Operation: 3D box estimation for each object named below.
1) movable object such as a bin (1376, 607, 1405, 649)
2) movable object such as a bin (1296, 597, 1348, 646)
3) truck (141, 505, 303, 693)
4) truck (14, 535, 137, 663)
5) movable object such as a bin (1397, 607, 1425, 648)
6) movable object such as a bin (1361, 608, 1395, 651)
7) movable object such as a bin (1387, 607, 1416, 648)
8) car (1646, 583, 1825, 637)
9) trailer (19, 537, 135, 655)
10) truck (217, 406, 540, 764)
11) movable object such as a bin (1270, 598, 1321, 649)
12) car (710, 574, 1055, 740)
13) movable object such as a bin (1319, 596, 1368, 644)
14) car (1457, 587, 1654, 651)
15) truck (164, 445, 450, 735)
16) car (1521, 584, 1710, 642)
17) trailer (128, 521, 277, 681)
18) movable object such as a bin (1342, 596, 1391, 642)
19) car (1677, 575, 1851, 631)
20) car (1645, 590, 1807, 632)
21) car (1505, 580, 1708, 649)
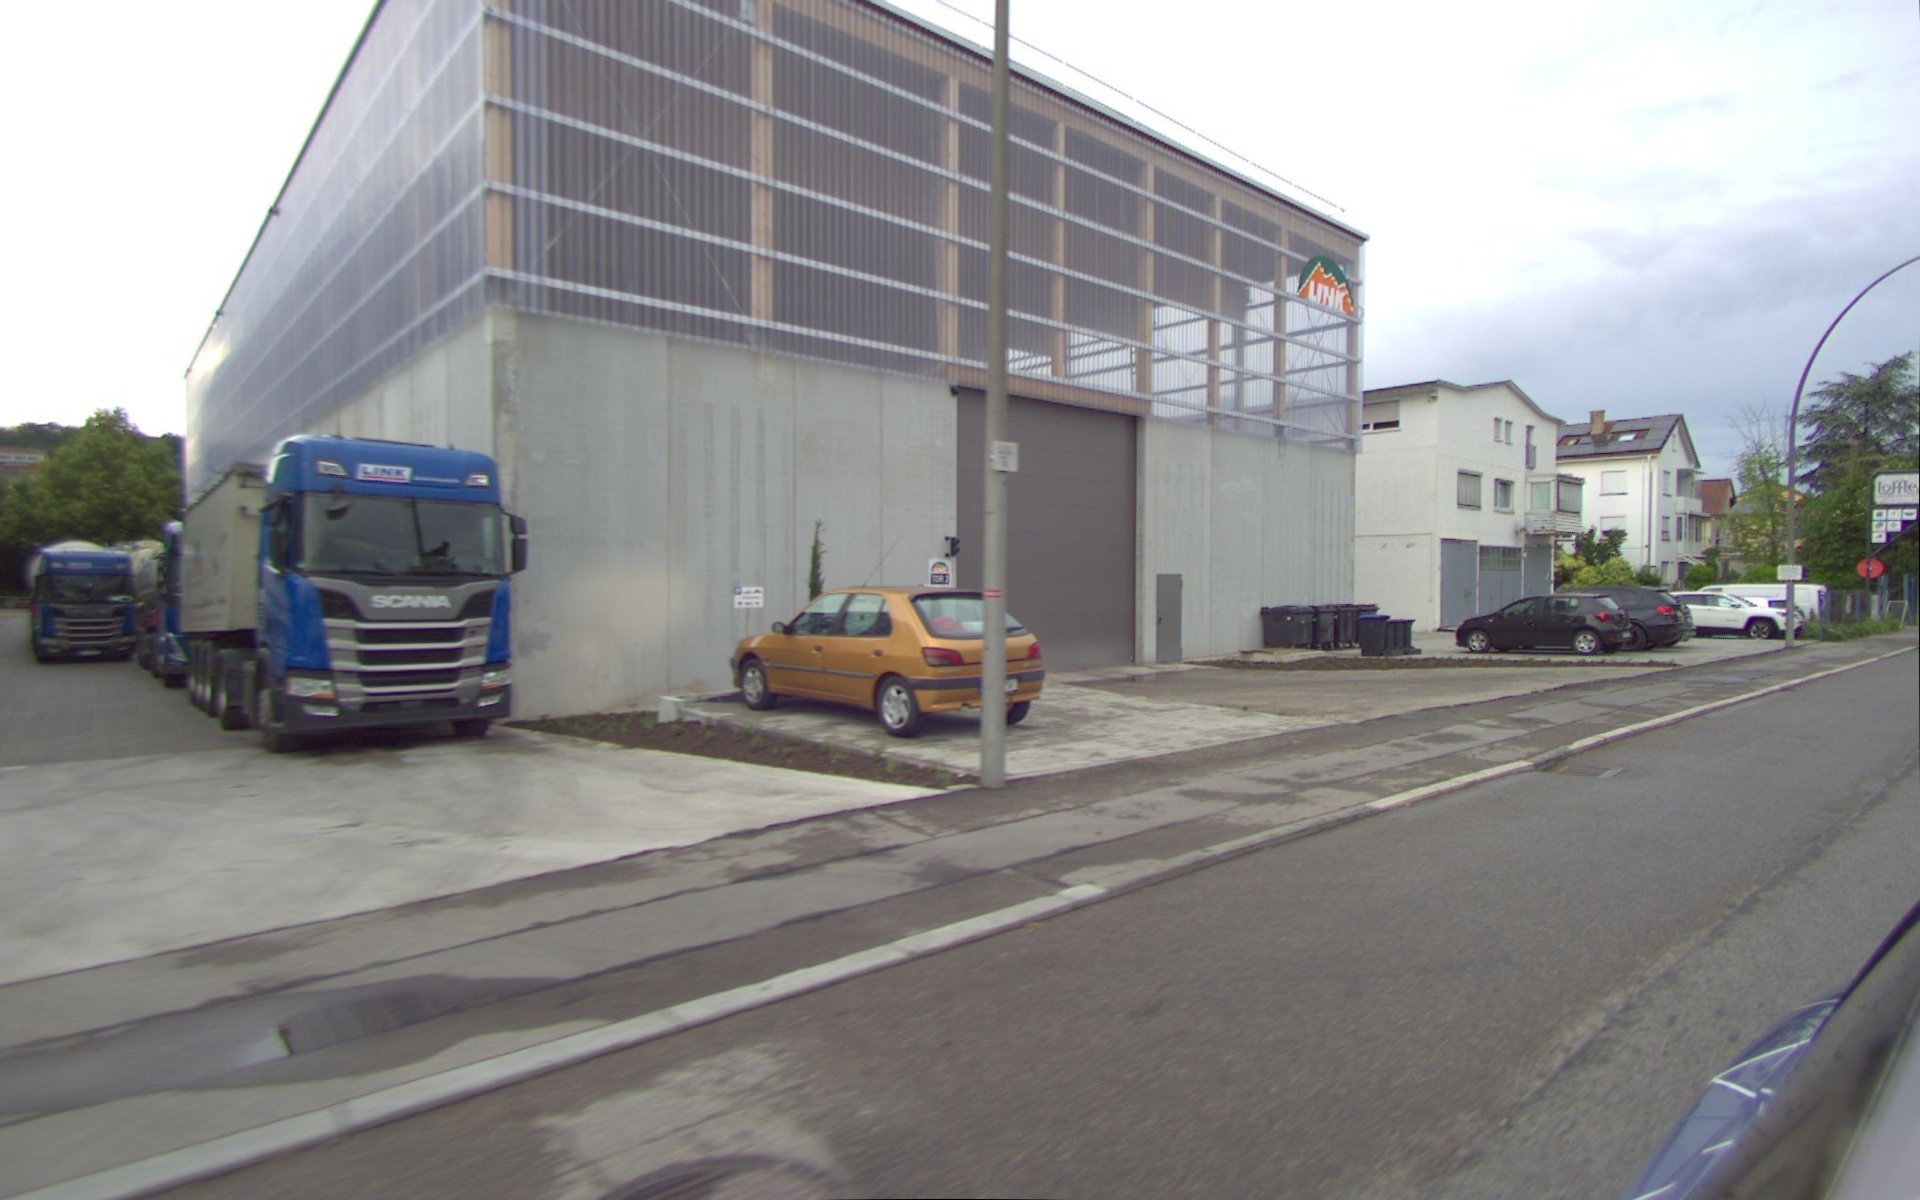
[{"bbox_3d":[11.254,0.727,26.448,0.534,1.068,0.513,-1,0,-40],"label":"movable object such as a bin"},{"bbox_3d":[10.285,0.599,28.750,1.298,1.356,0.839,-1,0,-40],"label":"movable object such as a bin"},{"bbox_3d":[-18.047,-0.001,24.592,2.673,3.971,6.087,-1,0,-41],"label":"truck"},{"bbox_3d":[-29.849,-0.121,34.254,2.929,3.951,5.778,-1,2,-41],"label":"truck"},{"bbox_3d":[12.102,0.729,27.158,0.496,1.068,0.518,-1,0,-40],"label":"movable object such as a bin"},{"bbox_3d":[10.782,0.747,26.087,0.633,1.068,0.575,-1,0,-40],"label":"movable object such as a bin"},{"bbox_3d":[11.692,0.719,26.815,0.543,1.068,0.496,-1,0,-40],"label":"movable object such as a bin"},{"bbox_3d":[25.729,0.304,33.704,1.861,1.645,4.452,-1,0,-41],"label":"car"},{"bbox_3d":[-33.803,-0.268,38.777,3.020,3.969,9.348,-1,2,-41],"label":"trailer"},{"bbox_3d":[-7.535,-0.100,12.925,2.675,3.721,4.146,-1,-2,-43],"label":"truck"},{"bbox_3d":[9.267,0.631,27.948,1.192,1.356,0.839,-1,0,-40],"label":"movable object such as a bin"},{"bbox_3d":[-0.988,0.469,10.857,1.603,1.448,3.992,0,1,-42],"label":"car"},{"bbox_3d":[11.235,0.572,29.661,1.262,1.356,0.839,-1,0,-40],"label":"movable object such as a bin"},{"bbox_3d":[15.112,0.439,25.859,1.800,1.509,3.974,0,0,-39],"label":"car"},{"bbox_3d":[-11.414,-0.101,17.191,2.676,3.754,8.543,-1,0,-42],"label":"truck"},{"bbox_3d":[18.897,0.375,29.329,1.780,1.555,4.250,-1,0,-41],"label":"car"},{"bbox_3d":[-22.175,-0.002,29.354,2.675,3.908,9.922,-1,1,-41],"label":"trailer"},{"bbox_3d":[12.272,0.553,30.559,1.307,1.356,0.839,-1,0,-40],"label":"movable object such as a bin"},{"bbox_3d":[29.501,0.099,37.262,1.965,1.910,4.740,-1,0,-40],"label":"car"},{"bbox_3d":[27.204,0.354,36.050,1.818,1.396,4.326,-1,0,-41],"label":"car"},{"bbox_3d":[17.280,0.360,27.210,1.947,1.696,4.232,-1,0,-41],"label":"car"}]
